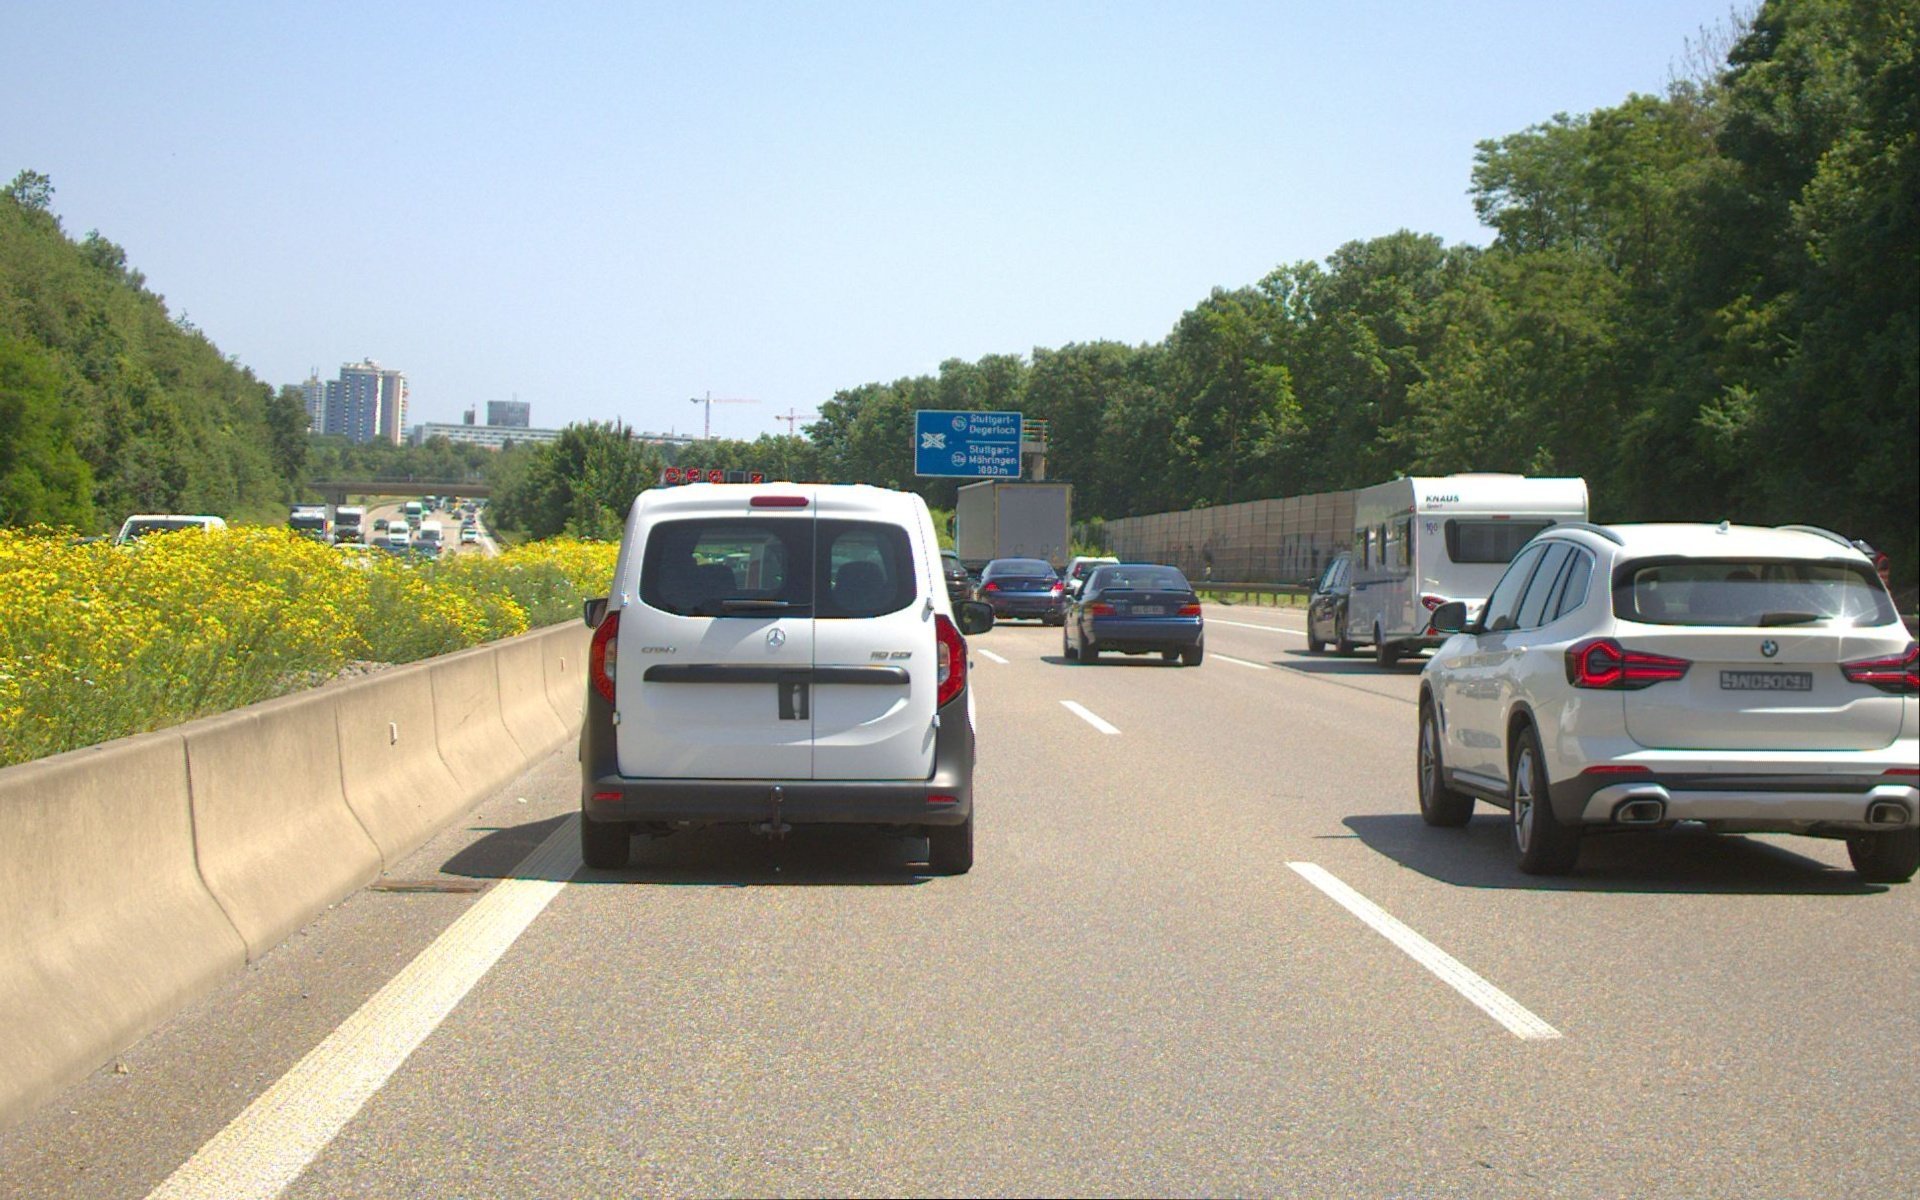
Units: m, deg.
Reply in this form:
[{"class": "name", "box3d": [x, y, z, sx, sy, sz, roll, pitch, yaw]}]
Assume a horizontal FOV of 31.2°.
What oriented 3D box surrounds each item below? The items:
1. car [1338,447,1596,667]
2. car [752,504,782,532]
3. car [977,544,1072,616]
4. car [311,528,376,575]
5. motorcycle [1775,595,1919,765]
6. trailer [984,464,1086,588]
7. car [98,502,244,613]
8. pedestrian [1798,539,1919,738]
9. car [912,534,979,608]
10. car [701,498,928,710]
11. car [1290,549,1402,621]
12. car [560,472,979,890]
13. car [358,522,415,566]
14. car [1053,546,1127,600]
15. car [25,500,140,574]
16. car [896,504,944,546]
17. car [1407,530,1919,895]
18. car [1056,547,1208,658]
[{"class": "car", "box3d": [6.816, -0.603, 47.019, 2.479, 2.756, 6.220, 1, 1, -1]}, {"class": "car", "box3d": [-14.578, -6.195, 259.864, 1.993, 2.007, 4.000, 1, 1, -1]}, {"class": "car", "box3d": [1.316, -0.445, 71.718, 1.824, 1.419, 4.000, 1, 1, -1]}, {"class": "car", "box3d": [-21.872, -1.730, 122.146, 1.796, 1.608, 4.001, 1, 1, -4]}, {"class": "motorcycle", "box3d": [6.911, 0.588, 26.402, 0.859, 1.177, 2.276, 2, 2, 4]}, {"class": "trailer", "box3d": [2.484, -2.500, 117.397, 3.082, 3.972, 10.324, 1, 1, -1]}, {"class": "car", "box3d": [-14.981, -0.814, 65.469, 1.993, 2.007, 4.001, 1, 1, -2]}, {"class": "pedestrian", "box3d": [6.909, 0.288, 26.254, 0.851, 1.473, 0.638, 2, 1, 4]}, {"class": "car", "box3d": [-0.421, -0.834, 96.303, 1.824, 1.982, 4.000, 1, 1, -1]}, {"class": "car", "box3d": [-1.321, -0.001, 32.659, 1.993, 1.853, 4.000, 1, 1, -1]}, {"class": "car", "box3d": [8.051, -0.344, 71.940, 1.824, 1.419, 4.000, 1, 1, -1]}, {"class": "car", "box3d": [-0.880, 0.319, 17.059, 1.802, 1.802, 4.000, 1, 1, -1]}, {"class": "car", "box3d": [-22.808, -2.230, 136.774, 1.796, 1.711, 4.001, 1, 1, -4]}, {"class": "car", "box3d": [3.592, -0.760, 95.590, 1.824, 1.419, 4.000, 1, 1, -1]}, {"class": "car", "box3d": [-21.698, -1.550, 85.146, 1.993, 1.749, 4.001, 1, 1, -3]}, {"class": "car", "box3d": [-1.949, -3.644, 166.687, 1.993, 2.007, 4.001, 1, 1, -5]}, {"class": "car", "box3d": [3.495, 0.479, 17.184, 1.871, 1.603, 3.879, 1, 1, -2]}, {"class": "car", "box3d": [2.324, 0.006, 47.280, 1.824, 1.419, 4.000, 1, 1, -1]}]
